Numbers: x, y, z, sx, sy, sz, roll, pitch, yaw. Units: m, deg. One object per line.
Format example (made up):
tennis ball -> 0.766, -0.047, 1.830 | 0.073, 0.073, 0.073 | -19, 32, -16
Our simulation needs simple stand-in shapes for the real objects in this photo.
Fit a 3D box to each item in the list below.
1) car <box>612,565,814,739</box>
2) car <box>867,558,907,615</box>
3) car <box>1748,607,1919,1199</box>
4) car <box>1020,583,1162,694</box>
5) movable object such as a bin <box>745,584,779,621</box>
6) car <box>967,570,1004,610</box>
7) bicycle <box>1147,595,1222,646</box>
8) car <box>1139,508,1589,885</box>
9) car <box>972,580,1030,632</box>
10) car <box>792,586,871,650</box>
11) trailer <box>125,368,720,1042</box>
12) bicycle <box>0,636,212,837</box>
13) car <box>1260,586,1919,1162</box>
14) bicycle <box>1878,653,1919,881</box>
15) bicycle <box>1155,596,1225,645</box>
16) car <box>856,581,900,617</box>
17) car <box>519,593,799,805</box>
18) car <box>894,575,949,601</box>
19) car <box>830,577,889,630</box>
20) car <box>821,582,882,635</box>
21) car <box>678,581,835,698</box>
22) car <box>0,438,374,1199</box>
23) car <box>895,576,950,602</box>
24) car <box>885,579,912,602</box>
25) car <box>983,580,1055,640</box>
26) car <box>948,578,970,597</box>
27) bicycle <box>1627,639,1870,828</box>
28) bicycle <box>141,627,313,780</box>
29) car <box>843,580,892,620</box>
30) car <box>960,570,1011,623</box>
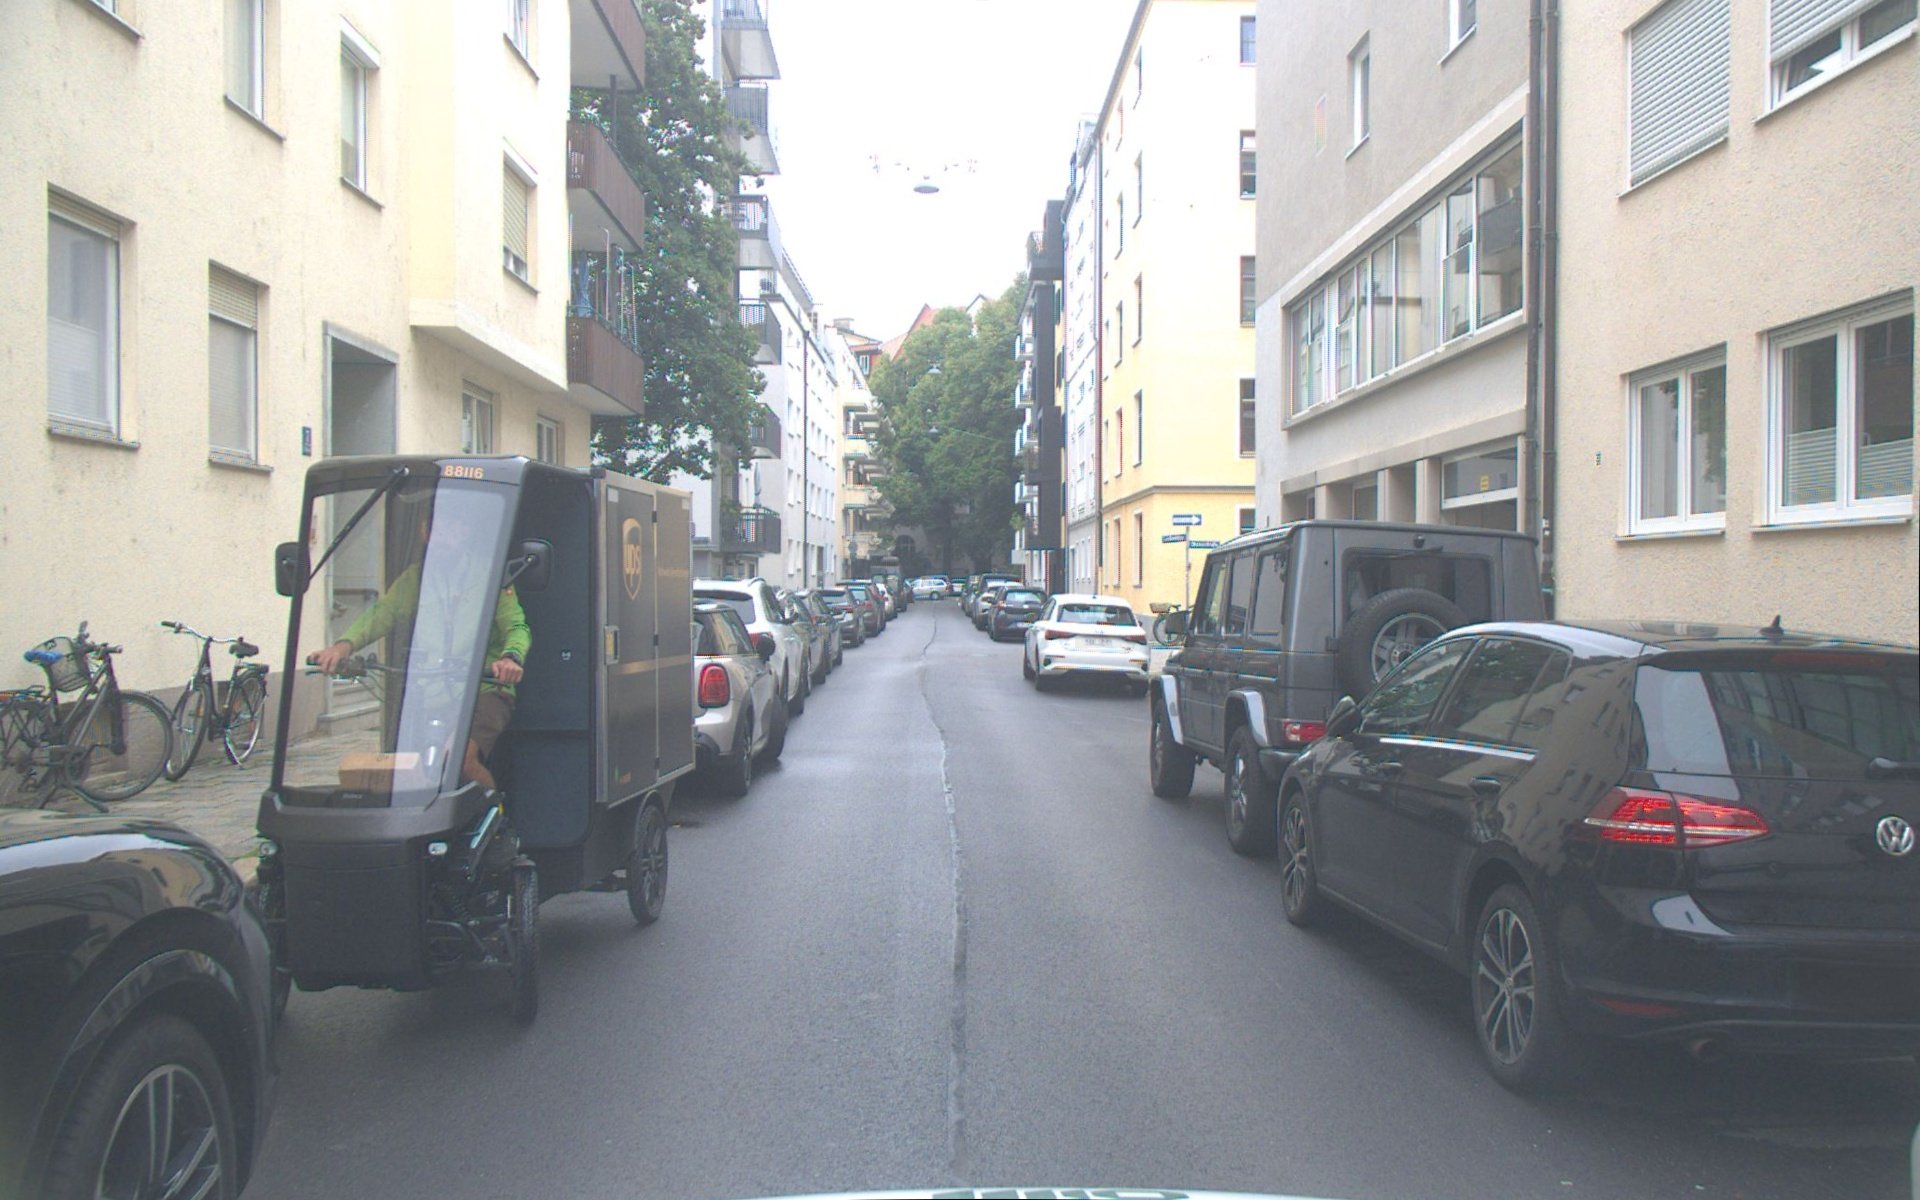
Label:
car -> -2.650, 0.505, 18.636 | 1.730, 1.704, 4.366 | -1, 0, -2
car -> -3.842, -0.744, 87.694 | 1.897, 2.850, 4.531 | -3, 1, -1
car -> 2.653, 0.790, 1.487 | 1.677, 1.512, 4.241 | 1, 0, -3
car -> 1.998, 0.544, 26.280 | 1.782, 1.432, 3.952 | 1, 3, -2
movable object such as a bin -> -7.657, 0.093, 64.036 | 1.142, 1.360, 1.025 | -2, 0, 2
car -> 1.375, -0.541, 90.764 | 1.792, 2.034, 4.414 | 3, 1, -1
bicycle -> 5.609, 0.508, 41.384 | 1.772, 1.194, 0.505 | -1, 2, -3
car -> 2.460, 0.501, 11.254 | 1.716, 2.009, 4.340 | 2, 1, -3
car -> 1.357, 0.172, 56.511 | 1.648, 1.595, 4.414 | 3, 1, -2
car -> -3.163, 0.407, 41.299 | 1.658, 1.467, 3.942 | -1, 1, 0
trailer -> -1.968, 0.338, 6.974 | 1.327, 2.153, 3.318 | 0, 0, 1
bicycle -> -5.343, 0.788, 10.199 | 0.715, 1.045, 1.812 | 1, 1, -4
car -> 2.527, 0.737, 6.523 | 1.677, 1.512, 4.241 | 1, 0, -3
bicycle -> 5.127, 0.831, 7.684 | 0.641, 1.125, 1.760 | -4, 0, -2
bicycle -> 5.676, 0.504, 40.850 | 1.679, 1.159, 0.374 | -1, 2, -2
car -> -3.591, -0.067, 73.072 | 1.741, 1.478, 4.045 | -3, 1, -1
car -> -2.286, 0.682, 13.467 | 1.618, 1.461, 3.802 | -1, 0, -1
car -> -2.751, -0.869, 118.255 | 3.808, 1.612, 1.647 | -3, 1, -2
car -> -3.287, 0.071, 54.834 | 1.741, 1.657, 4.413 | -1, 1, -1
car -> -3.157, 0.219, 48.779 | 1.659, 1.467, 3.976 | -1, 1, -2
car -> -2.888, 0.499, 24.288 | 1.729, 1.509, 4.424 | -1, 1, 0
car -> -2.207, 0.643, 1.357 | 1.840, 1.689, 4.415 | -1, 0, 0
car -> -2.631, -0.795, 116.356 | 3.808, 1.612, 1.647 | -3, 1, -2
car -> -3.917, -0.622, 106.312 | 1.609, 1.407, 3.482 | -3, 1, -1
car -> 1.599, 0.243, 46.365 | 1.715, 1.495, 4.342 | 3, 1, -1
car -> -0.105, -1.028, 133.244 | 1.609, 1.407, 3.745 | -3, 1, -1
bicycle -> 5.109, 0.823, 10.854 | 0.631, 1.046, 1.796 | -4, 0, -2
bicycle -> -5.513, 0.743, 12.552 | 0.503, 1.016, 1.859 | 2, 0, -2
car -> -3.753, -0.022, 67.672 | 1.740, 1.512, 4.519 | -3, 1, 0
car -> 0.950, -0.159, 63.869 | 1.792, 1.943, 4.415 | 2, 1, -1
